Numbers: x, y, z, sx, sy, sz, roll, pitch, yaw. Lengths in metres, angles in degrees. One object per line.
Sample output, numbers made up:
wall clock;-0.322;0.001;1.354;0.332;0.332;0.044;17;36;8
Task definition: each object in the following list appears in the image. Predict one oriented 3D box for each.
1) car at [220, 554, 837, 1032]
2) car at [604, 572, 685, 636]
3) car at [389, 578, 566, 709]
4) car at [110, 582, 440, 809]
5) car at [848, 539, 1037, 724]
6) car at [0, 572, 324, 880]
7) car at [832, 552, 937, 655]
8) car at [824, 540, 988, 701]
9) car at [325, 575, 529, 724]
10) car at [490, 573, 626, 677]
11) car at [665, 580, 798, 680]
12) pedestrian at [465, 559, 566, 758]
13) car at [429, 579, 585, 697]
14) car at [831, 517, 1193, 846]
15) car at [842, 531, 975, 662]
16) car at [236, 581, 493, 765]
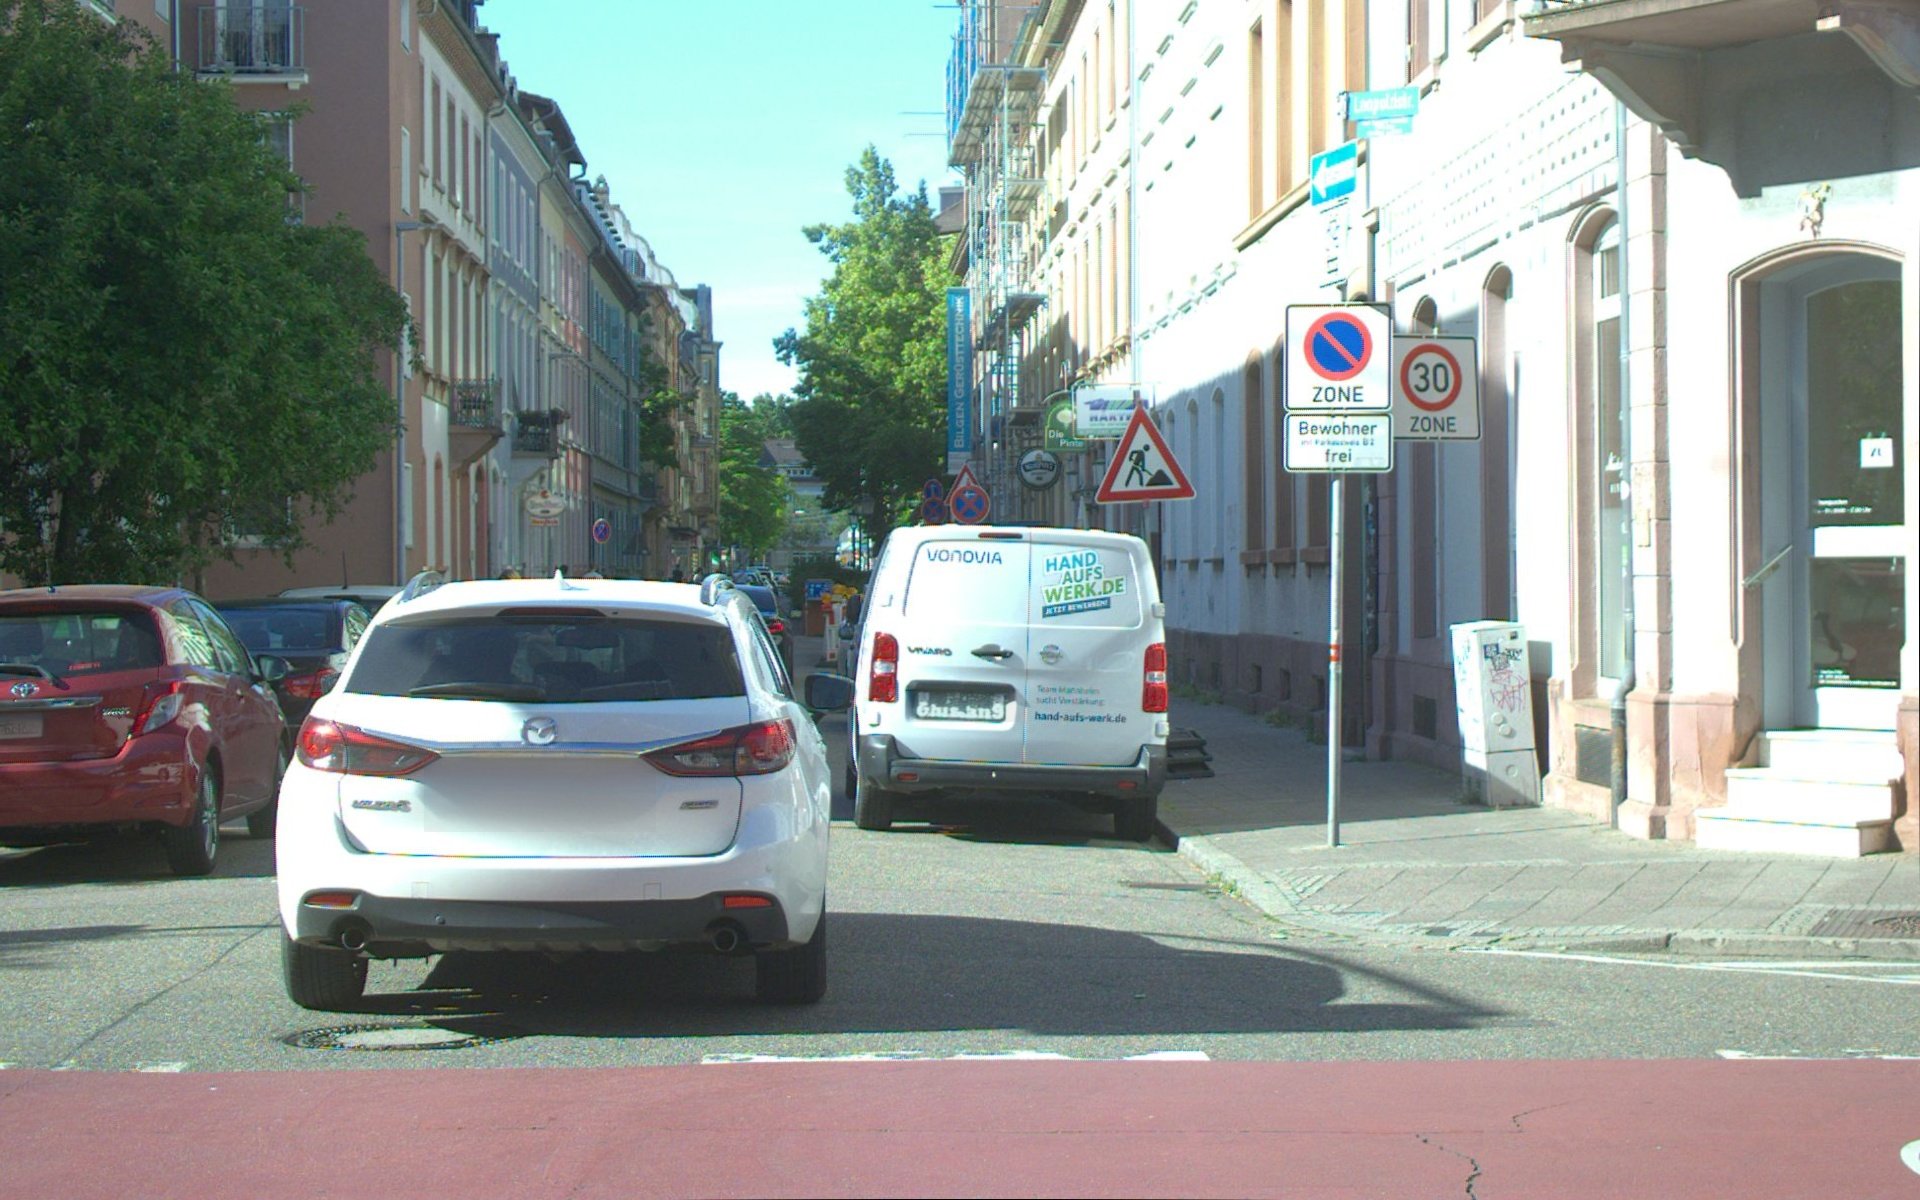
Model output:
car;-1.388;0.608;12.490;1.831;1.452;3.962;0;-1;-1
car;-7.488;0.078;81.863;1.653;1.495;3.763;0;0;-1
car;-5.717;0.482;41.095;1.653;1.495;3.763;0;0;-1
car;-4.859;0.623;24.891;1.653;1.495;4.080;0;0;-1
car;-0.214;0.298;36.449;1.894;1.853;3.995;0;0;-1
car;-4.668;0.615;18.881;1.684;1.495;3.807;-1;0;-1
car;-1.398;0.043;63.880;1.894;1.853;3.995;0;0;-1
car;-0.665;0.222;41.711;1.894;1.853;3.995;0;0;-1
car;-5.609;0.483;36.523;1.653;1.495;3.763;0;0;-1
car;-5.964;0.341;51.319;1.653;1.495;3.763;0;0;-1
car;-3.324;0.412;50.599;1.760;1.405;4.328;0;0;-1
pedestrian;-3.687;0.473;28.493;0.733;1.608;0.816;-1;0;-13
car;-5.981;0.471;45.736;1.653;1.495;3.763;0;0;-1
car;0.214;0.454;22.516;1.894;1.853;5.015;2;0;-4
car;-0.796;-0.073;53.700;1.894;1.853;3.995;-3;1;-1
car;-5.108;0.583;29.903;1.653;1.495;3.763;0;0;-1
